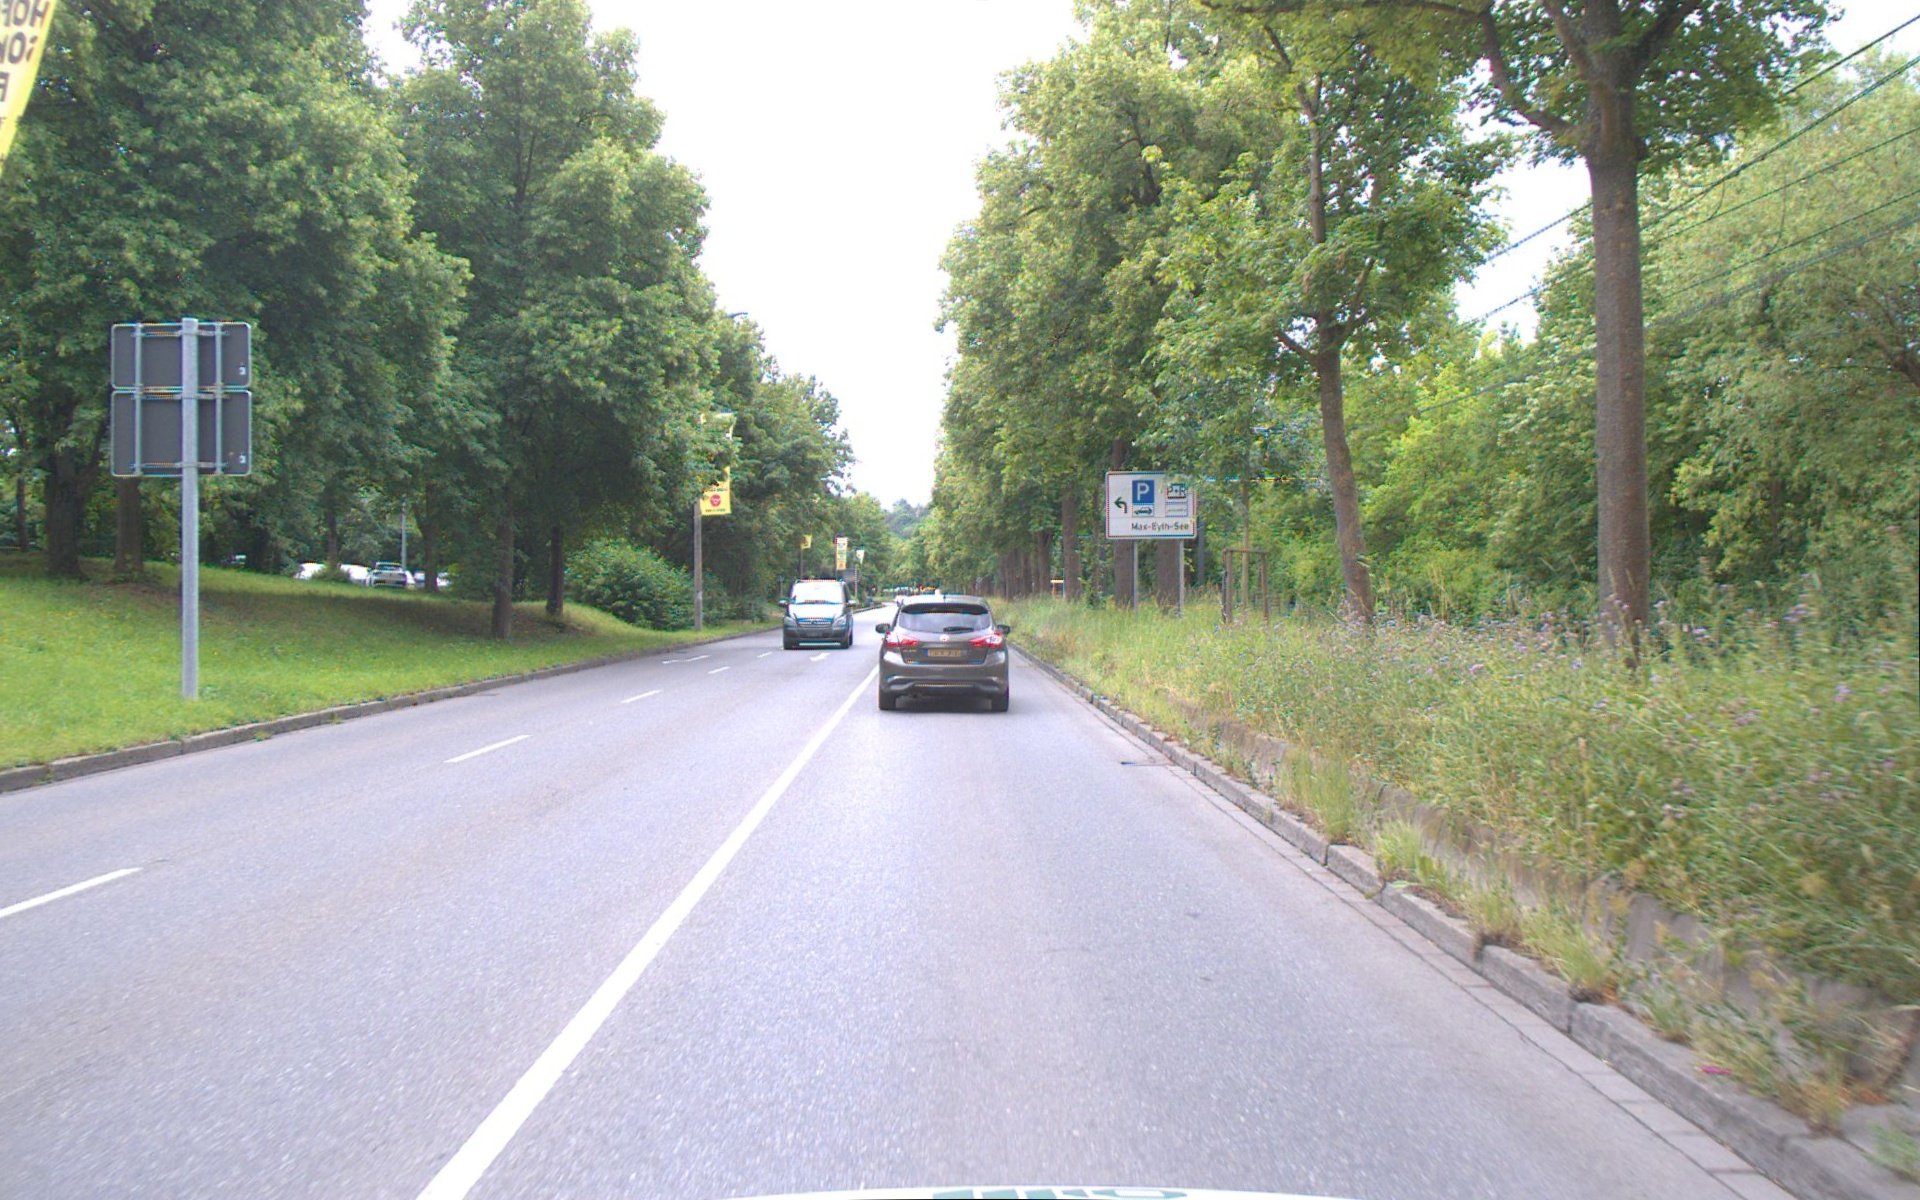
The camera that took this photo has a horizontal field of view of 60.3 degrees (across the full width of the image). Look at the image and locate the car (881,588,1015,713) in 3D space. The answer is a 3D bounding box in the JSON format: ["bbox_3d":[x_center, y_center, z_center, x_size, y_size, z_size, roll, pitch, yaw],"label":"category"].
[{"bbox_3d":[-0.194,0.648,22.980,1.695,1.564,3.550,1,0,-2],"label":"car"}]

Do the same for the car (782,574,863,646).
[{"bbox_3d":[-3.941,0.276,48.241,1.953,1.990,5.183,0,0,0],"label":"car"}]

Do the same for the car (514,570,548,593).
[{"bbox_3d":[-29.344,-1.235,113.043,1.624,1.512,3.969,1,0,-24],"label":"car"}]

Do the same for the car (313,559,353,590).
[{"bbox_3d":[-31.633,-1.276,83.404,1.624,1.512,3.969,1,0,-24],"label":"car"}]

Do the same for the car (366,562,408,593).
[{"bbox_3d":[-29.124,-1.132,84.017,1.624,1.512,3.969,1,0,-24],"label":"car"}]

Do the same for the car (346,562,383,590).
[{"bbox_3d":[-33.723,-1.323,93.588,1.624,1.512,3.969,1,0,-24],"label":"car"}]

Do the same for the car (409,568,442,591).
[{"bbox_3d":[-35.597,-1.366,110.043,1.624,1.512,3.969,1,0,-24],"label":"car"}]

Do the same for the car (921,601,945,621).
[{"bbox_3d":[-2.012,0.792,122.932,1.529,1.466,3.553,1,0,3],"label":"car"}]
